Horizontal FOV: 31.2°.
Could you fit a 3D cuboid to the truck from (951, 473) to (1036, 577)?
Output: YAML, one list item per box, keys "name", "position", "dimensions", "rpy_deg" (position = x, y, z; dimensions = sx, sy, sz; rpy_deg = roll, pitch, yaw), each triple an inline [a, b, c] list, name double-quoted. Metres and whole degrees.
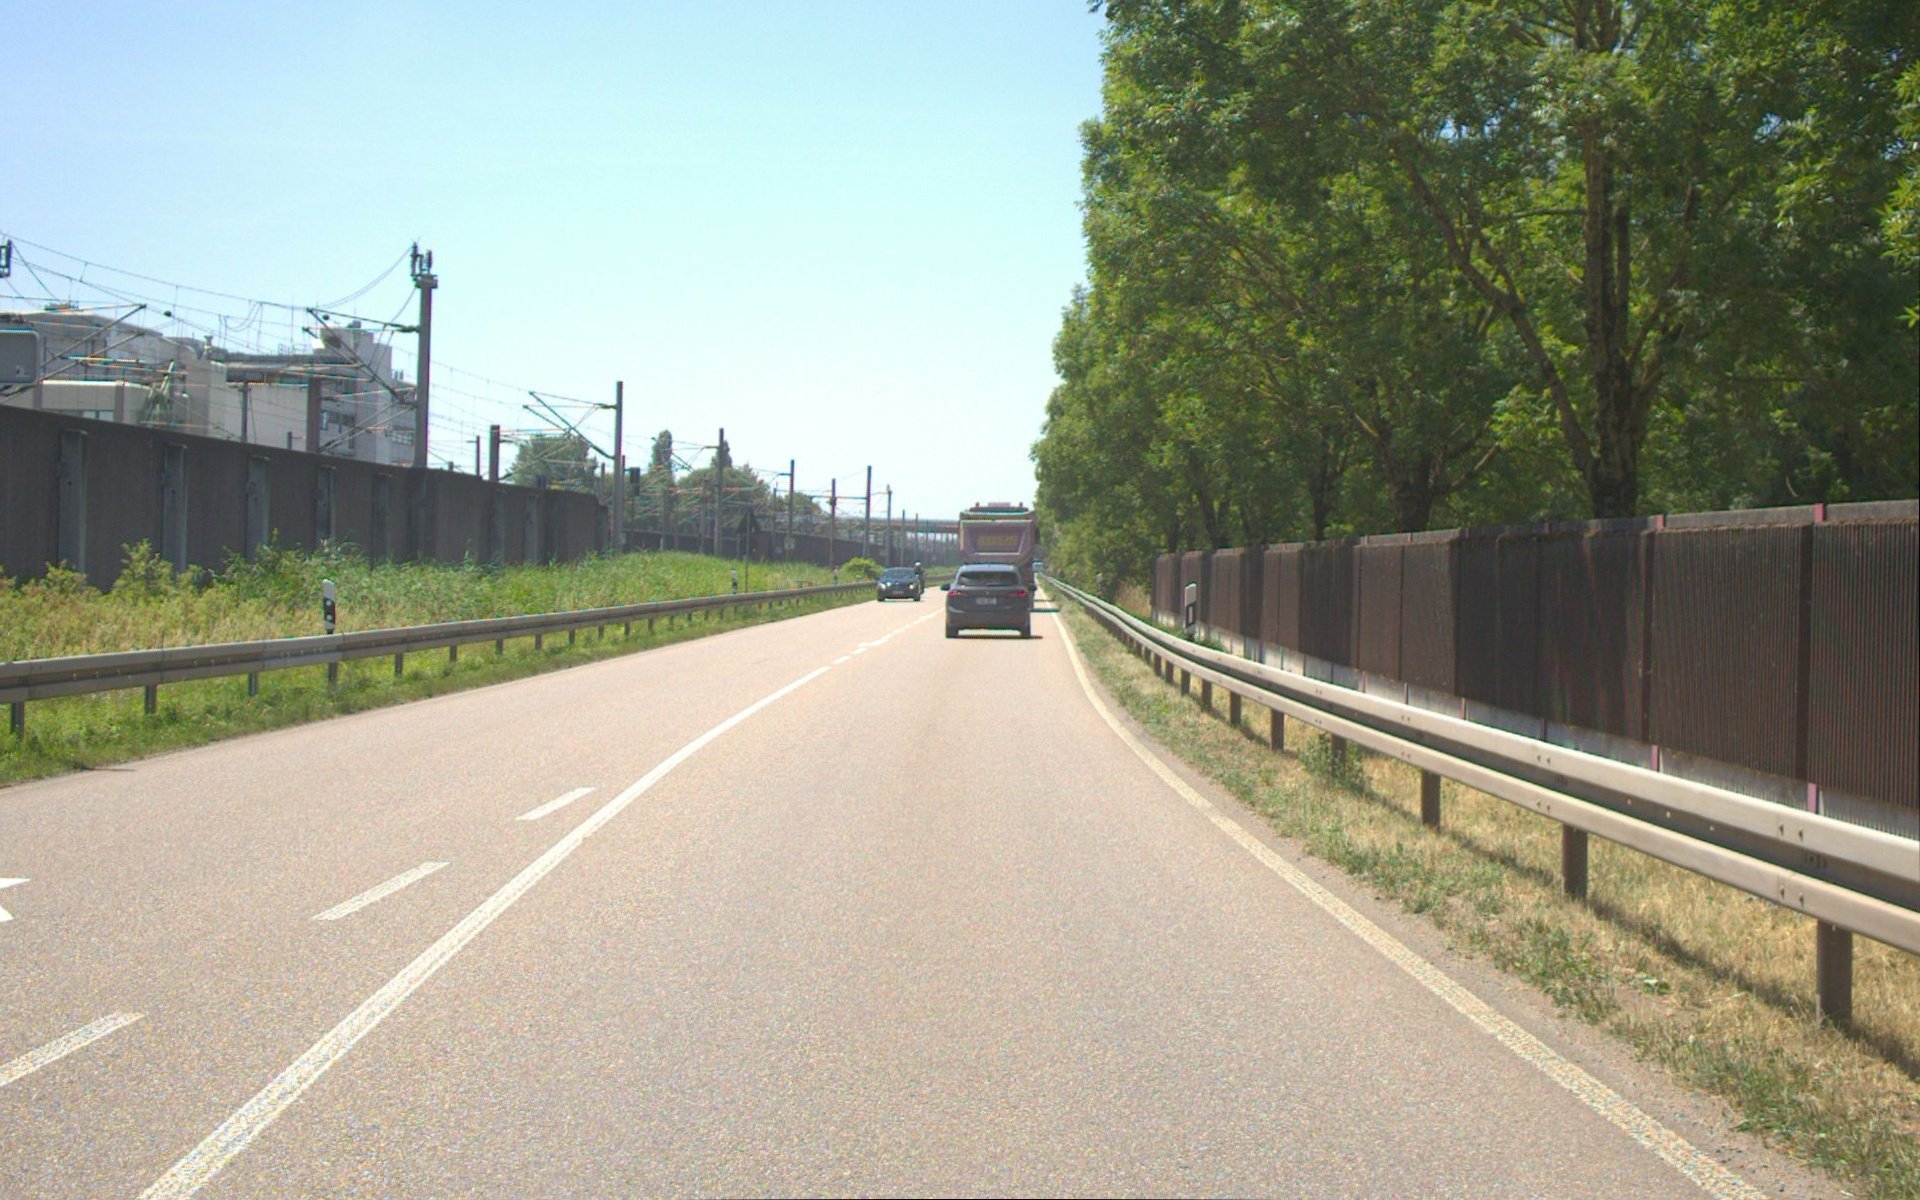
- name: "truck"
  position: [1.224, -2.526, 118.934]
  dimensions: [2.770, 3.414, 10.819]
  rpy_deg: [1, 1, 1]

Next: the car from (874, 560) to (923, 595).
- name: "car"
  position: [-2.641, -0.990, 148.634]
  dimensions: [1.993, 1.503, 4.000]
  rpy_deg: [0, 1, 1]

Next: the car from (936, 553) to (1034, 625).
- name: "car"
  position: [0.514, -0.255, 73.661]
  dimensions: [1.993, 1.503, 4.000]
  rpy_deg: [0, 1, -1]
